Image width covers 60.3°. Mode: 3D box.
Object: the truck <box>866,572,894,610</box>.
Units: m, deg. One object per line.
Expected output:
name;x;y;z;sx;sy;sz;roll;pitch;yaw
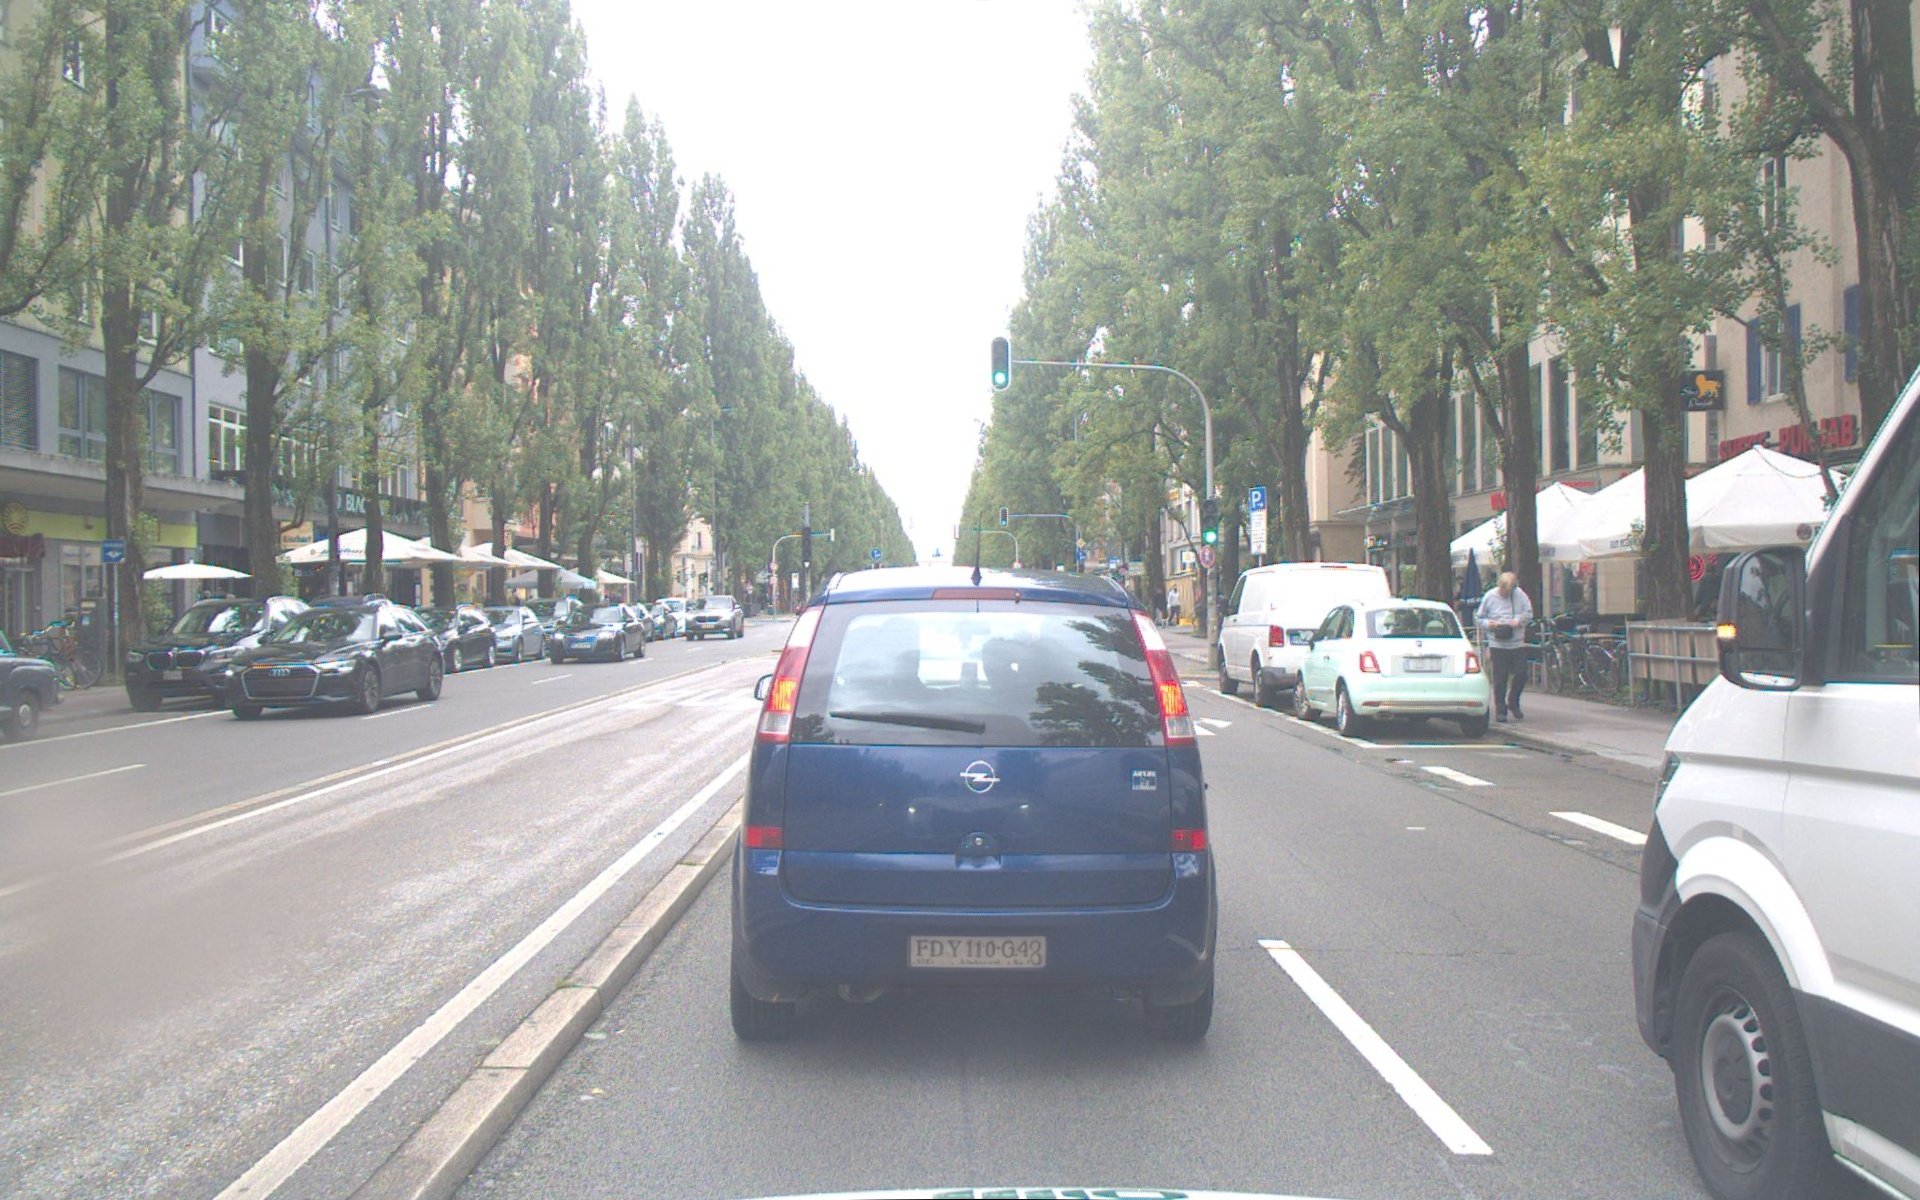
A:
truck;-7.429;-0.800;153.942;2.334;3.405;7.109;-1;0;-1

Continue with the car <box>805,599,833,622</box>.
car;-10.672;0.775;125.441;1.828;1.695;4.119;-1;0;-1

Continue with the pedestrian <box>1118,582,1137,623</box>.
pedestrian;7.532;0.114;74.357;0.625;1.859;0.885;1;-1;-11

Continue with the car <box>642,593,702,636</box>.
car;-12.233;0.588;70.556;1.828;1.694;4.119;-2;0;-1

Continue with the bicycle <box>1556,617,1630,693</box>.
bicycle;8.796;0.746;23.031;0.342;1.013;1.453;-2;0;-4

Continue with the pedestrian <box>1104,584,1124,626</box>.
pedestrian;6.893;0.220;74.069;0.625;1.859;0.885;1;-1;-11

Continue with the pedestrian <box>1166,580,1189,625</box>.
pedestrian;9.221;0.102;70.043;0.707;1.859;0.885;1;-1;-11

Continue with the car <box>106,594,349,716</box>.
car;-11.567;0.796;26.496;1.828;1.693;4.610;-2;0;-1

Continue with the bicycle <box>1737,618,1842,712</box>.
bicycle;9.424;0.717;18.839;0.342;1.013;1.453;-2;0;-4

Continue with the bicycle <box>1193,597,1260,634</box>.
bicycle;9.221;0.516;57.316;2.182;1.225;0.626;-1;0;-3

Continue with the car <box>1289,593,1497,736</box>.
car;4.965;0.683;19.382;1.509;1.518;3.523;0;0;0

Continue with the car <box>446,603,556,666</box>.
car;-11.789;0.852;42.725;1.698;1.450;4.142;-2;0;-1

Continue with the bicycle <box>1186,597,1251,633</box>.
bicycle;9.171;0.516;58.809;2.182;1.225;0.626;-1;0;-3

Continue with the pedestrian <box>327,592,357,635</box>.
pedestrian;-20.758;0.452;55.559;0.750;1.434;0.799;1;-1;-6

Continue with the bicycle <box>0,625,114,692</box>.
bicycle;-16.172;1.031;29.355;1.909;1.114;0.718;2;0;-7

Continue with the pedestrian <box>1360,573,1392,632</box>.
pedestrian;12.351;0.085;49.121;0.660;1.715;0.758;-1;-1;-5

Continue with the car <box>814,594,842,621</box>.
car;-10.455;0.595;131.526;1.953;2.049;3.999;-1;0;-1

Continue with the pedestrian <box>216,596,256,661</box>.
pedestrian;-19.361;0.752;44.254;0.740;1.715;0.675;-1;-1;0

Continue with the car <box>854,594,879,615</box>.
car;-7.014;0.321;124.619;1.699;1.491;3.364;-1;0;-1

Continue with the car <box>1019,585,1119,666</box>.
car;2.300;0.508;35.893;1.858;1.650;3.999;0;0;-1

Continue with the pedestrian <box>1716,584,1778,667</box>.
pedestrian;13.038;0.414;27.412;0.625;1.347;0.800;-1;0;-1

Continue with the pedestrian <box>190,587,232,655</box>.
pedestrian;-19.380;0.549;42.805;0.740;1.715;0.675;-1;-1;0

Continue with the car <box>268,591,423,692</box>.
car;-11.796;0.749;32.013;1.676;1.751;3.919;-2;0;-4

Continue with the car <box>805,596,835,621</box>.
car;-10.044;0.613;118.645;1.828;1.695;4.119;-1;0;-1

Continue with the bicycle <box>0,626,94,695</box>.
bicycle;-16.100;1.036;28.526;1.909;1.114;0.718;2;0;-7

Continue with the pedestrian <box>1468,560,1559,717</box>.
pedestrian;6.497;0.441;19.457;0.810;1.804;0.871;-1;0;4

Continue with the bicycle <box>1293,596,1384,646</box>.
bicycle;9.711;0.522;42.476;2.182;1.225;0.626;-1;0;-3

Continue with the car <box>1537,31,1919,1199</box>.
car;2.780;0.236;1.638;2.021;2.536;6.729;0;0;-1

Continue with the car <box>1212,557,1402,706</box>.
car;4.995;0.410;24.461;1.751;1.980;4.729;0;0;-1

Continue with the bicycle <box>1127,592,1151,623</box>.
bicycle;8.207;0.334;75.870;0.757;1.372;2.449;-1;0;-1

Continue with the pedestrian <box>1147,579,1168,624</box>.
pedestrian;8.326;0.059;69.789;0.625;1.859;0.885;1;-1;-11

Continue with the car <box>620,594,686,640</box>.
car;-12.085;0.641;65.297;1.828;1.694;4.119;-2;0;-1

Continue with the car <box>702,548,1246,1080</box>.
car;0.026;0.635;6.985;1.637;1.596;3.999;0;0;-1

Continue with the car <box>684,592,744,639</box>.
car;-9.393;0.568;63.372;1.735;1.663;4.454;-2;0;-2

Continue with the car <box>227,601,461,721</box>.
car;-8.850;0.805;24.221;1.663;1.488;4.712;-2;0;-1

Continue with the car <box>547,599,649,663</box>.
car;-9.155;0.760;42.125;1.710;1.459;4.129;-2;0;-1

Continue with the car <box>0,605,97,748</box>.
car;-11.605;0.897;18.258;1.828;1.579;4.413;-2;0;-1

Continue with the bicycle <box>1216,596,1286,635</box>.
bicycle;9.585;0.517;54.525;2.182;1.225;0.626;-1;0;-3

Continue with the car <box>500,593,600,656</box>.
car;-11.940;0.673;48.464;1.828;1.694;4.400;-2;0;-1

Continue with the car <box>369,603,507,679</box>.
car;-11.792;0.878;37.674;1.762;1.514;4.349;-2;0;-1
